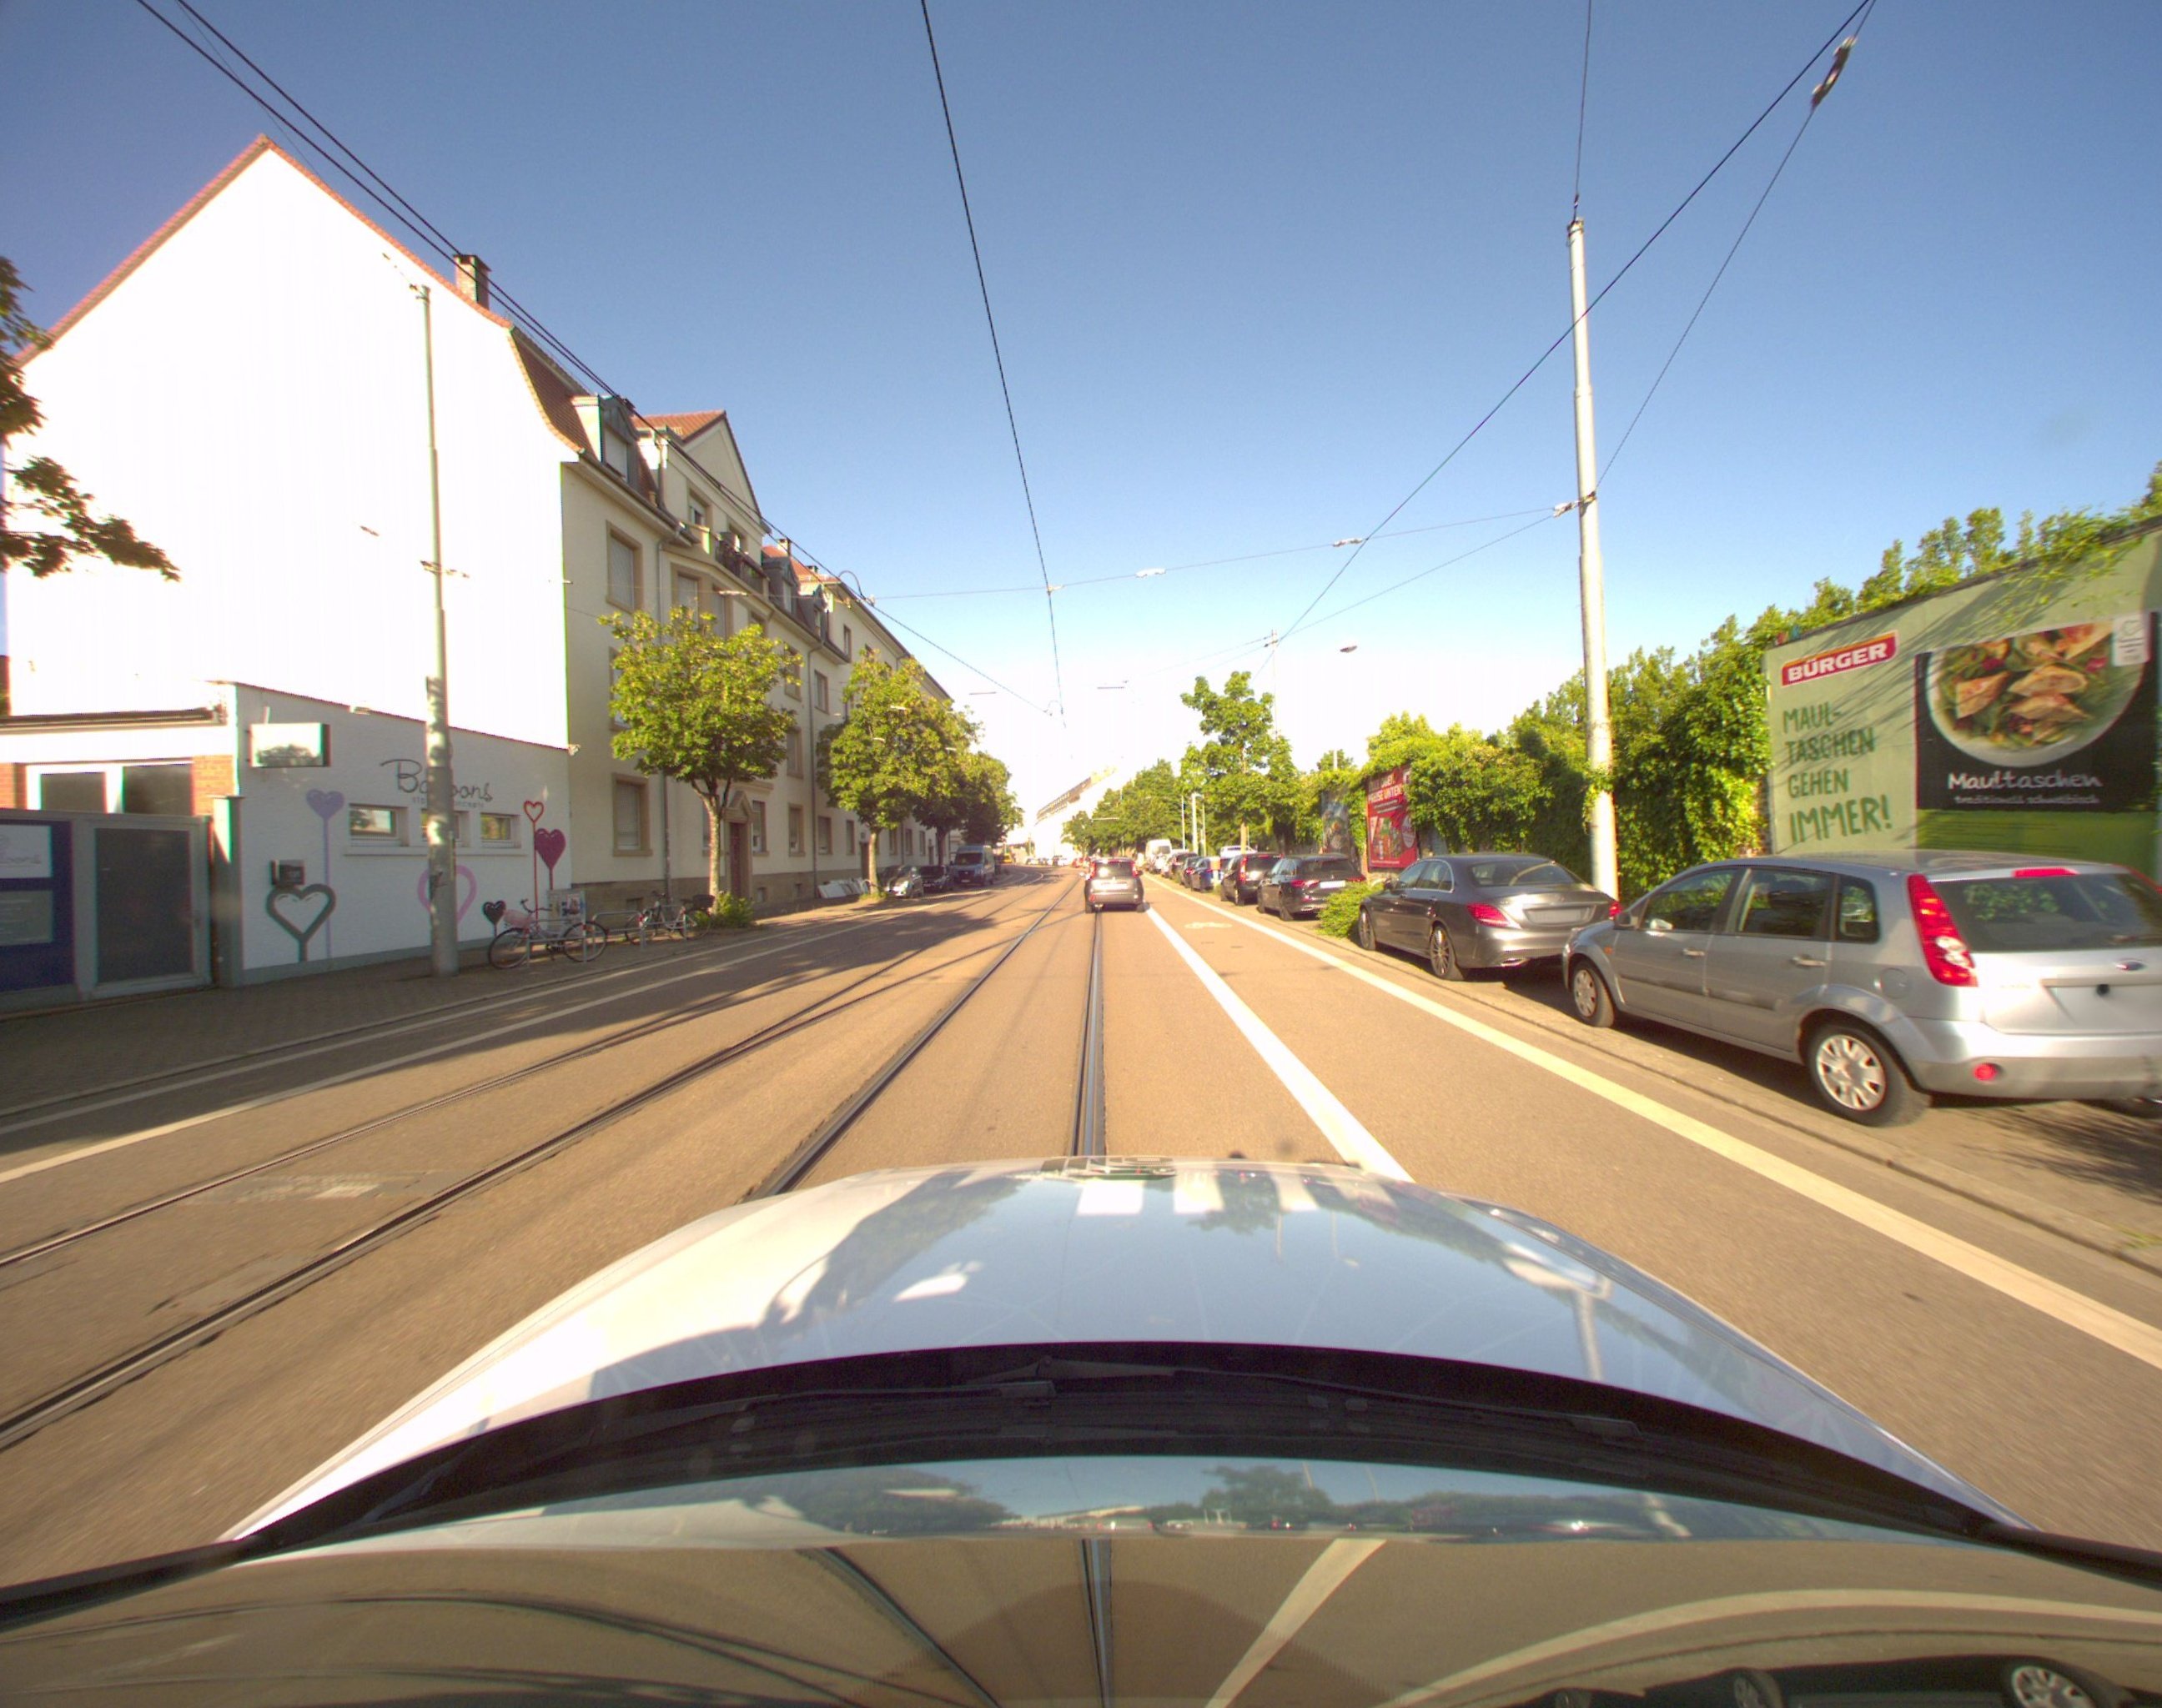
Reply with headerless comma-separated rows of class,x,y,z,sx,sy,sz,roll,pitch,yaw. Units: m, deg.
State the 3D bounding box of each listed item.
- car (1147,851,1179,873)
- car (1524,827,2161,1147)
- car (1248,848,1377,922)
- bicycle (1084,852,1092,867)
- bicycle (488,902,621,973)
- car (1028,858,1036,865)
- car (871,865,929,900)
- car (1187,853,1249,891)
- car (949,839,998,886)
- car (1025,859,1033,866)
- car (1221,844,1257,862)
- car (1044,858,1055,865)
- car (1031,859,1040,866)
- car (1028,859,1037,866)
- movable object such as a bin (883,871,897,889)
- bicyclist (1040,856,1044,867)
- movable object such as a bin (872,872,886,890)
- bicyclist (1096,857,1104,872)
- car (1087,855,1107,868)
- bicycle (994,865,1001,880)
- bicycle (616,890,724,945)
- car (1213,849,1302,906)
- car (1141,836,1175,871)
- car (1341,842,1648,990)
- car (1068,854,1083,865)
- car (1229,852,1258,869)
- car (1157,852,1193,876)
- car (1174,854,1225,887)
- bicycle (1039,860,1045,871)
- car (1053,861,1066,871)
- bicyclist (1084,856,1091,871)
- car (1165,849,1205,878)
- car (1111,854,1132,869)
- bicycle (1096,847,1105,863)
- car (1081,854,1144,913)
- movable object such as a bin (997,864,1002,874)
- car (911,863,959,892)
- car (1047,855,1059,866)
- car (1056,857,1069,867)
car,6.224,0.594,62.204,1.904,1.530,4.600,-3,0,0
car,5.108,0.625,5.799,1.865,1.473,4.079,-1,0,3
car,5.274,0.660,19.189,1.817,1.452,4.644,-2,0,2
bicycle,0.873,0.694,101.416,0.675,1.747,2.150,-1,-1,-9
bicycle,-8.959,1.386,13.918,0.661,1.040,1.798,-2,-1,39
car,-11.542,1.737,191.916,1.583,1.599,3.365,-1,-1,-9
car,-8.229,1.272,37.353,1.645,1.491,4.002,-1,0,2
car,5.601,0.714,33.795,1.723,1.464,4.338,-1,0,-1
car,-6.726,0.529,51.634,2.009,2.826,6.035,-1,-1,3
car,-13.012,2.133,204.328,1.583,1.599,3.365,-1,-1,-9
car,20.567,-0.094,106.149,4.273,2.013,1.771,-4,0,-5
car,-6.079,1.455,158.045,1.655,1.500,3.119,-1,-1,-9
car,-10.057,1.902,180.253,1.583,1.405,3.365,-1,-1,-9
car,-11.054,1.877,185.841,1.583,1.599,3.365,-1,-1,-9
movable object such as a bin,-10.568,1.425,45.084,0.594,0.934,0.568,-2,0,-2
bicyclist,-7.227,1.361,150.967,0.715,2.014,0.829,-1,-1,-10
movable object such as a bin,-10.580,1.406,42.686,0.594,0.934,0.568,-2,0,-2
bicyclist,2.177,1.190,92.530,0.699,1.759,0.755,-1,-1,-10
car,2.009,0.978,104.992,1.690,1.530,3.984,-3,0,-11
bicycle,-6.614,1.433,64.275,0.511,1.134,2.027,-1,-1,-5
bicycle,-8.807,1.332,17.521,1.998,1.040,0.526,0,-1,-45
car,5.339,0.680,25.117,1.819,1.492,3.813,-4,0,0
car,6.472,0.010,68.986,2.173,2.665,6.090,-4,0,0
car,4.964,0.655,10.640,1.817,1.484,4.604,-1,0,2
car,-0.779,0.845,119.659,1.635,1.508,3.387,-4,0,-8
car,10.421,0.395,52.400,1.305,1.033,3.056,-1,0,0
car,6.074,0.639,53.109,1.723,1.512,4.249,-1,0,-1
car,5.694,0.773,39.631,1.723,1.464,4.495,-1,0,-1
bicycle,-7.216,2.120,150.986,0.741,2.014,2.802,-1,-1,-9
car,-3.744,2.099,142.224,1.655,1.571,3.863,-1,-1,-9
bicyclist,0.855,1.194,101.531,0.699,1.759,0.755,-1,-1,-10
car,6.130,0.555,48.323,1.723,1.604,4.340,-1,0,-1
car,4.373,0.787,88.220,1.686,1.530,3.992,-3,0,-5
bicycle,2.189,0.154,92.497,0.675,1.747,2.150,-1,-1,-9
car,0.876,0.785,23.674,1.644,1.541,4.235,-1,0,1
movable object such as a bin,-8.056,1.500,80.593,0.484,0.987,0.658,-1,-1,-6
car,-7.785,1.225,43.668,1.645,1.425,4.191,-1,0,2
car,-5.148,1.238,151.564,1.655,1.944,4.649,-1,-1,-9
car,-3.113,1.343,137.857,1.655,1.571,3.488,-1,-1,-9
